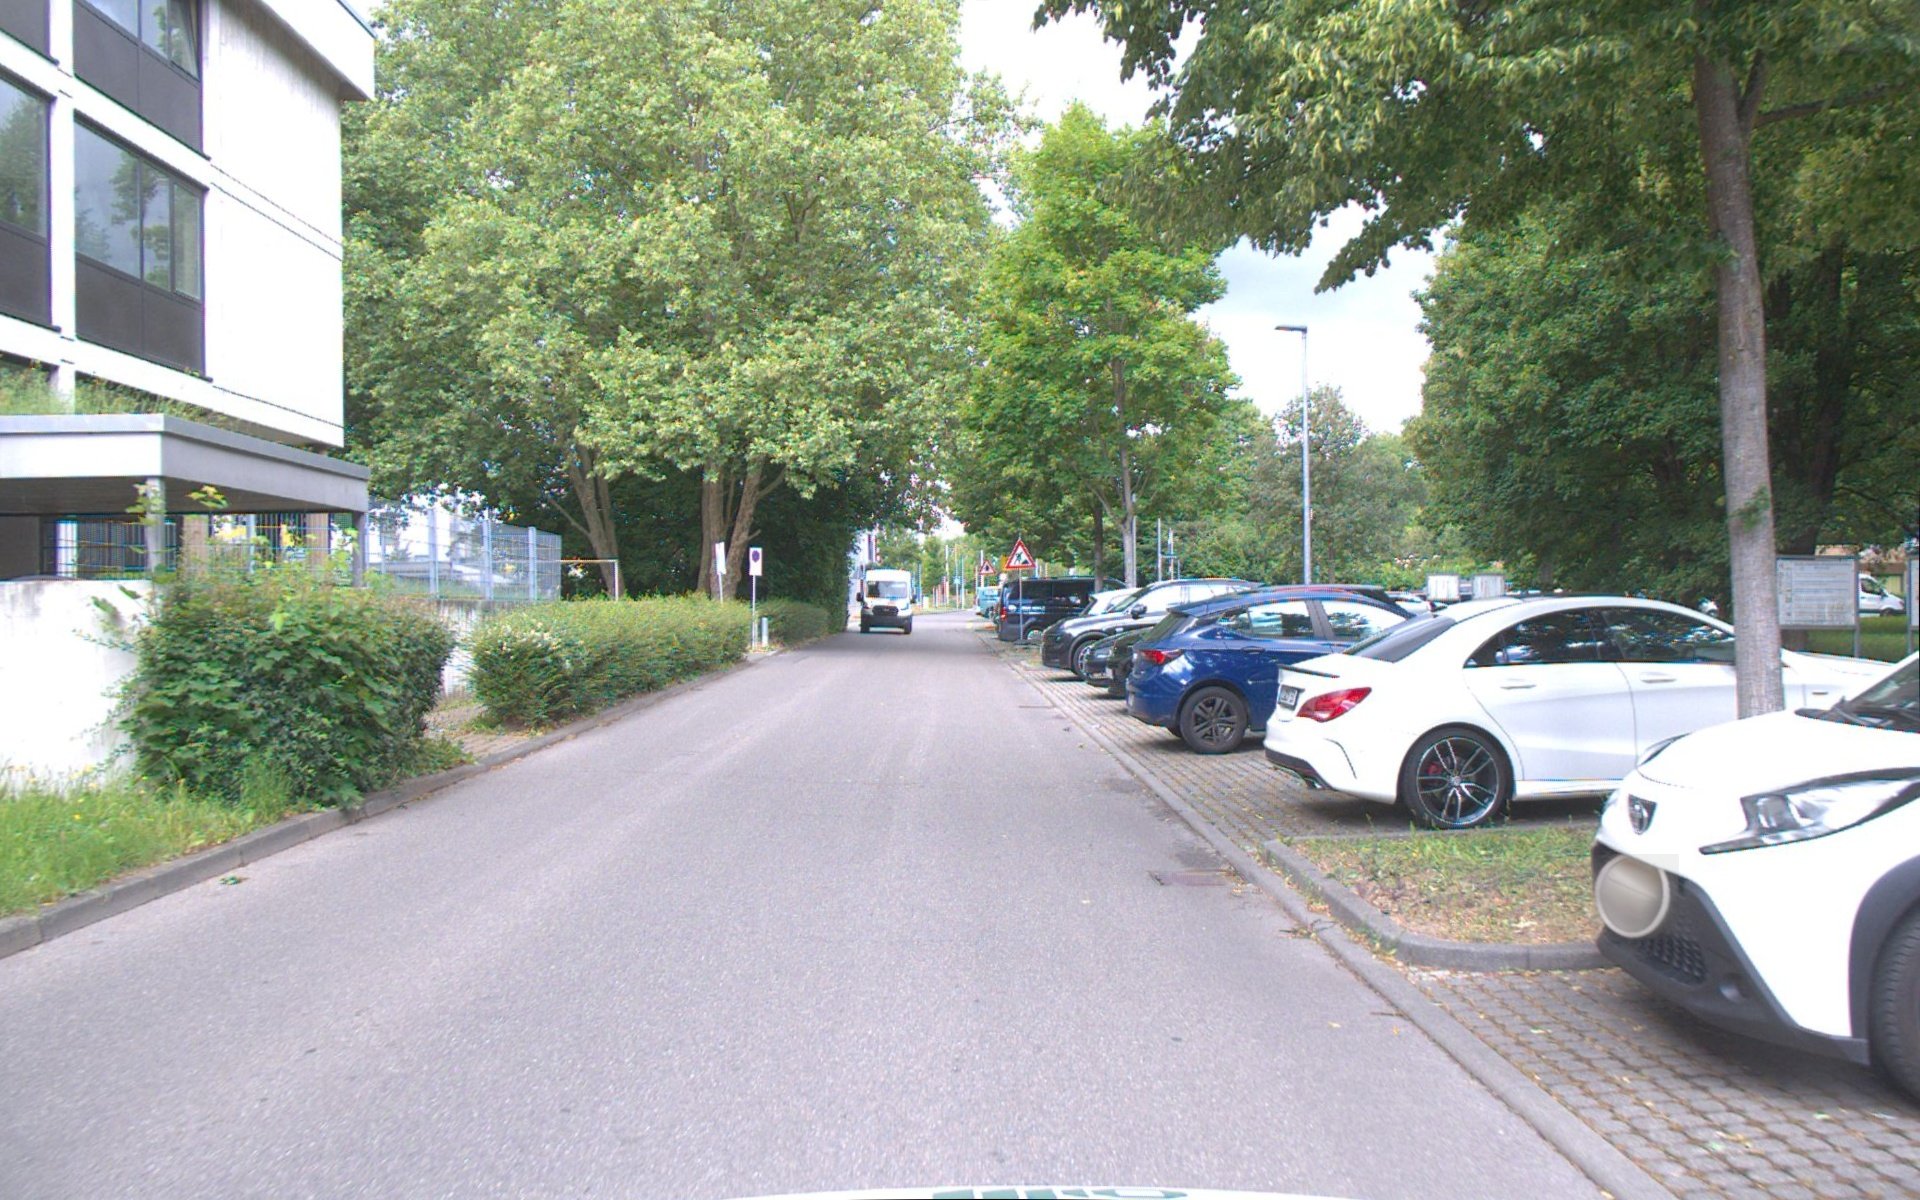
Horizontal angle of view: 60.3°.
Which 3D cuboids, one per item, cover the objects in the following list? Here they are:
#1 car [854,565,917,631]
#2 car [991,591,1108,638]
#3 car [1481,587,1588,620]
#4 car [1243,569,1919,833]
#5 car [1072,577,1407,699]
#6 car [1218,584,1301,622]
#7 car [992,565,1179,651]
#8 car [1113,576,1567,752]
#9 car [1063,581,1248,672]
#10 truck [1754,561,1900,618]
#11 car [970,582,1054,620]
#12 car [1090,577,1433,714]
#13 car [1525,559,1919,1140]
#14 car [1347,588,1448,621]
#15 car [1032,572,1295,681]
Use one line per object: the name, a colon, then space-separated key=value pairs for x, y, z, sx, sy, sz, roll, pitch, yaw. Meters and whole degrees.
car: x=-2.933 y=-0.098 z=66.439 sx=2.088 sy=2.519 sz=6.278 roll=1 pitch=0 yaw=1
car: x=3.082 y=0.497 z=57.538 sx=3.906 sy=1.455 sz=1.935 roll=-2 pitch=-1 yaw=-2
car: x=26.376 y=0.160 z=76.056 sx=4.334 sy=1.453 sz=1.704 roll=-1 pitch=0 yaw=6
car: x=4.286 y=0.609 z=11.116 sx=4.394 sy=1.480 sz=1.846 roll=-2 pitch=0 yaw=-1
car: x=3.991 y=0.523 z=24.219 sx=4.541 sy=1.543 sz=1.983 roll=-2 pitch=1 yaw=1
car: x=13.960 y=0.161 z=77.223 sx=3.699 sy=1.697 sz=1.769 roll=-1 pitch=0 yaw=6
car: x=3.341 y=0.210 z=44.814 sx=4.853 sy=2.048 sz=2.166 roll=-3 pitch=0 yaw=0
car: x=3.610 y=0.594 z=16.252 sx=3.989 sy=1.482 sz=1.851 roll=-2 pitch=0 yaw=0
car: x=3.735 y=0.488 z=31.991 sx=3.310 sy=1.602 sz=1.796 roll=-2 pitch=1 yaw=-1
truck: x=39.242 y=-0.456 z=74.977 sx=5.390 sy=2.468 sz=2.194 roll=-1 pitch=0 yaw=5
car: x=3.090 y=0.051 z=98.113 sx=4.871 sy=2.006 sz=1.846 roll=-2 pitch=0 yaw=0
car: x=3.819 y=0.558 z=21.372 sx=3.993 sy=1.544 sz=1.849 roll=-2 pitch=0 yaw=-5
car: x=4.030 y=0.608 z=5.328 sx=3.761 sy=1.542 sz=1.881 roll=-2 pitch=0 yaw=2
car: x=20.254 y=0.199 z=76.695 sx=4.300 sy=1.453 sz=1.704 roll=-1 pitch=0 yaw=5
car: x=3.532 y=0.441 z=29.304 sx=4.326 sy=1.705 sz=2.082 roll=-2 pitch=1 yaw=-1
